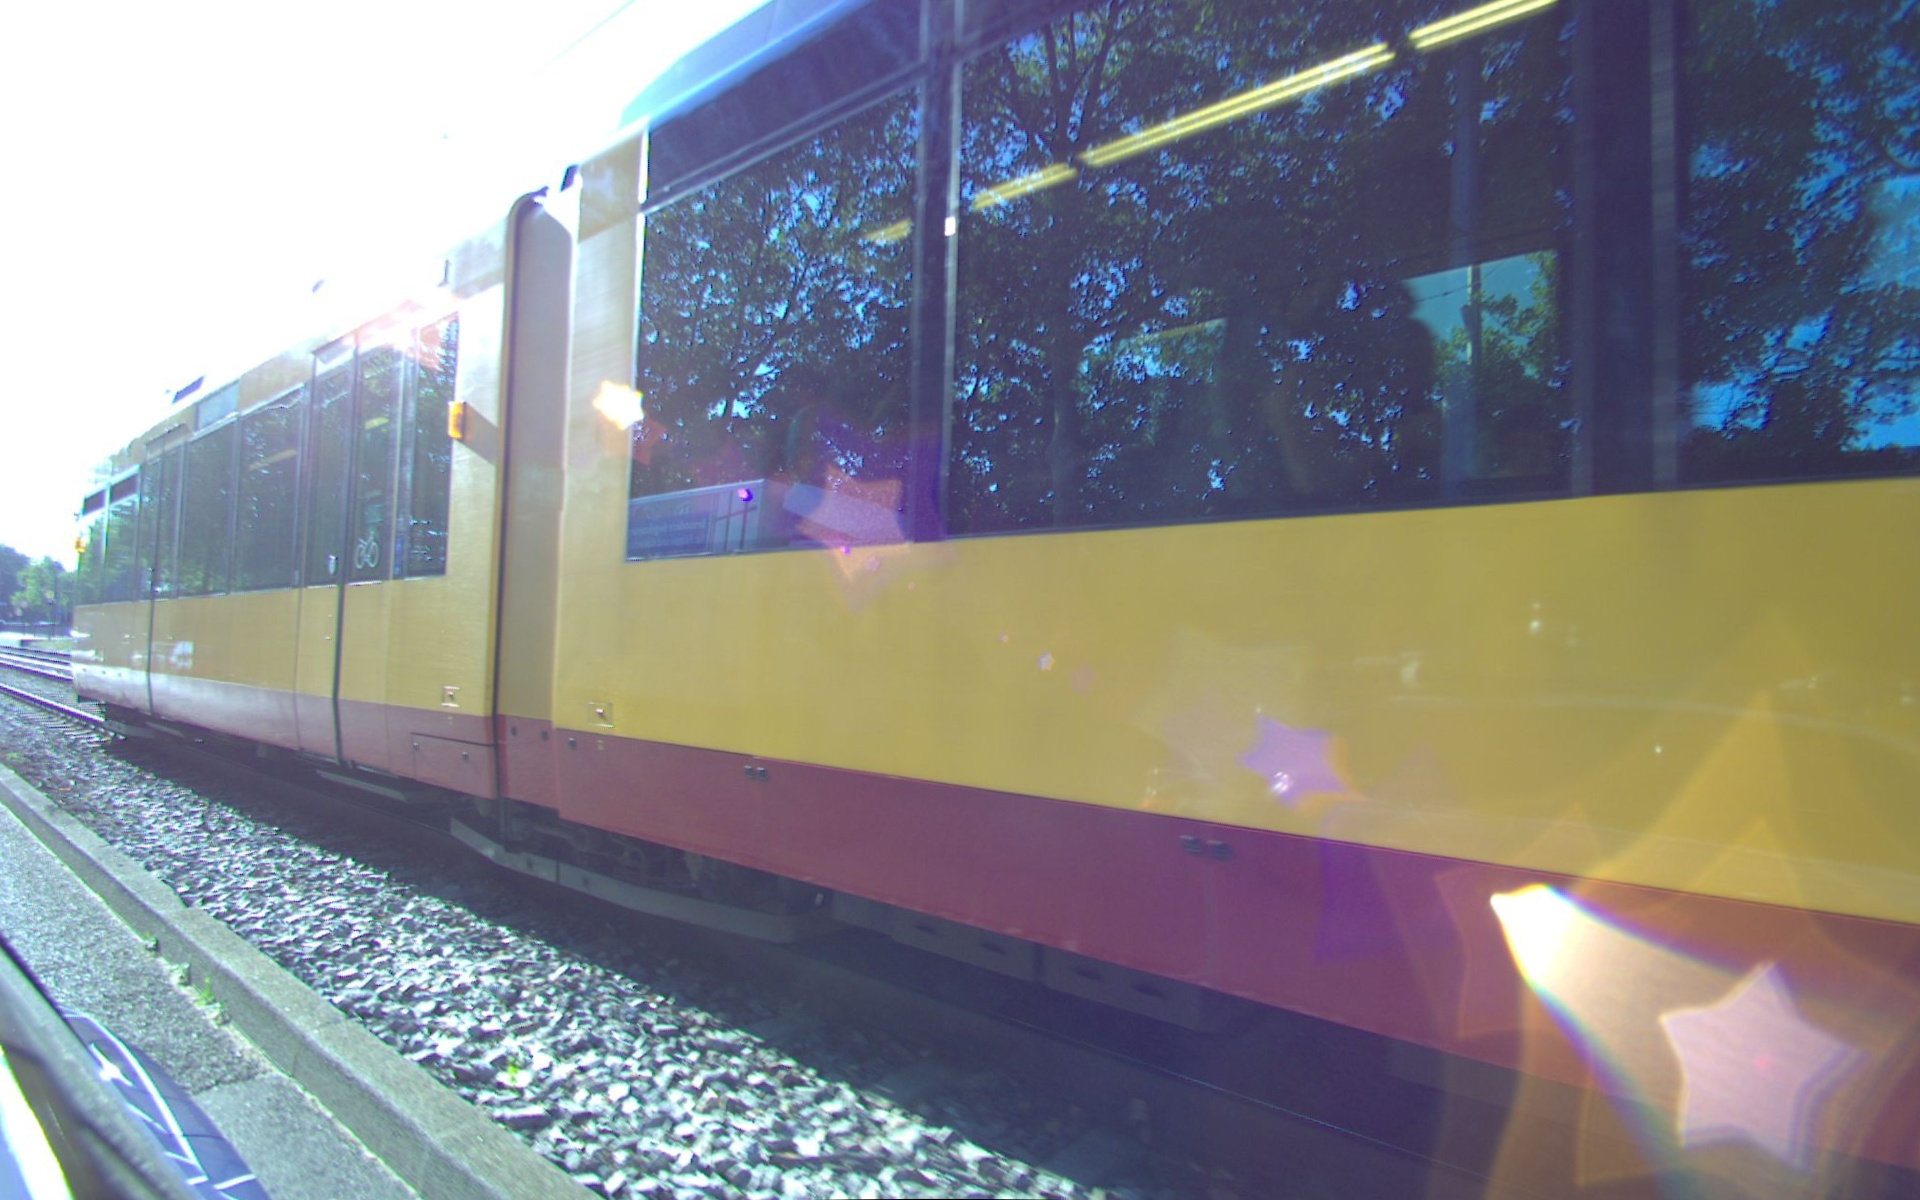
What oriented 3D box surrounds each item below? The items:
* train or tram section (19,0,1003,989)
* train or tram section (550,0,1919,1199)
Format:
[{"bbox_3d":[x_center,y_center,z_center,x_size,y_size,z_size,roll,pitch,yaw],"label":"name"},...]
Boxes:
[{"bbox_3d":[-5.784,-0.380,9.417,13.605,4.122,2.693,-2,-3,41],"label":"train or tram section"},{"bbox_3d":[3.030,-0.645,1.702,9.905,4.120,2.666,-2,-3,41],"label":"train or tram section"}]
